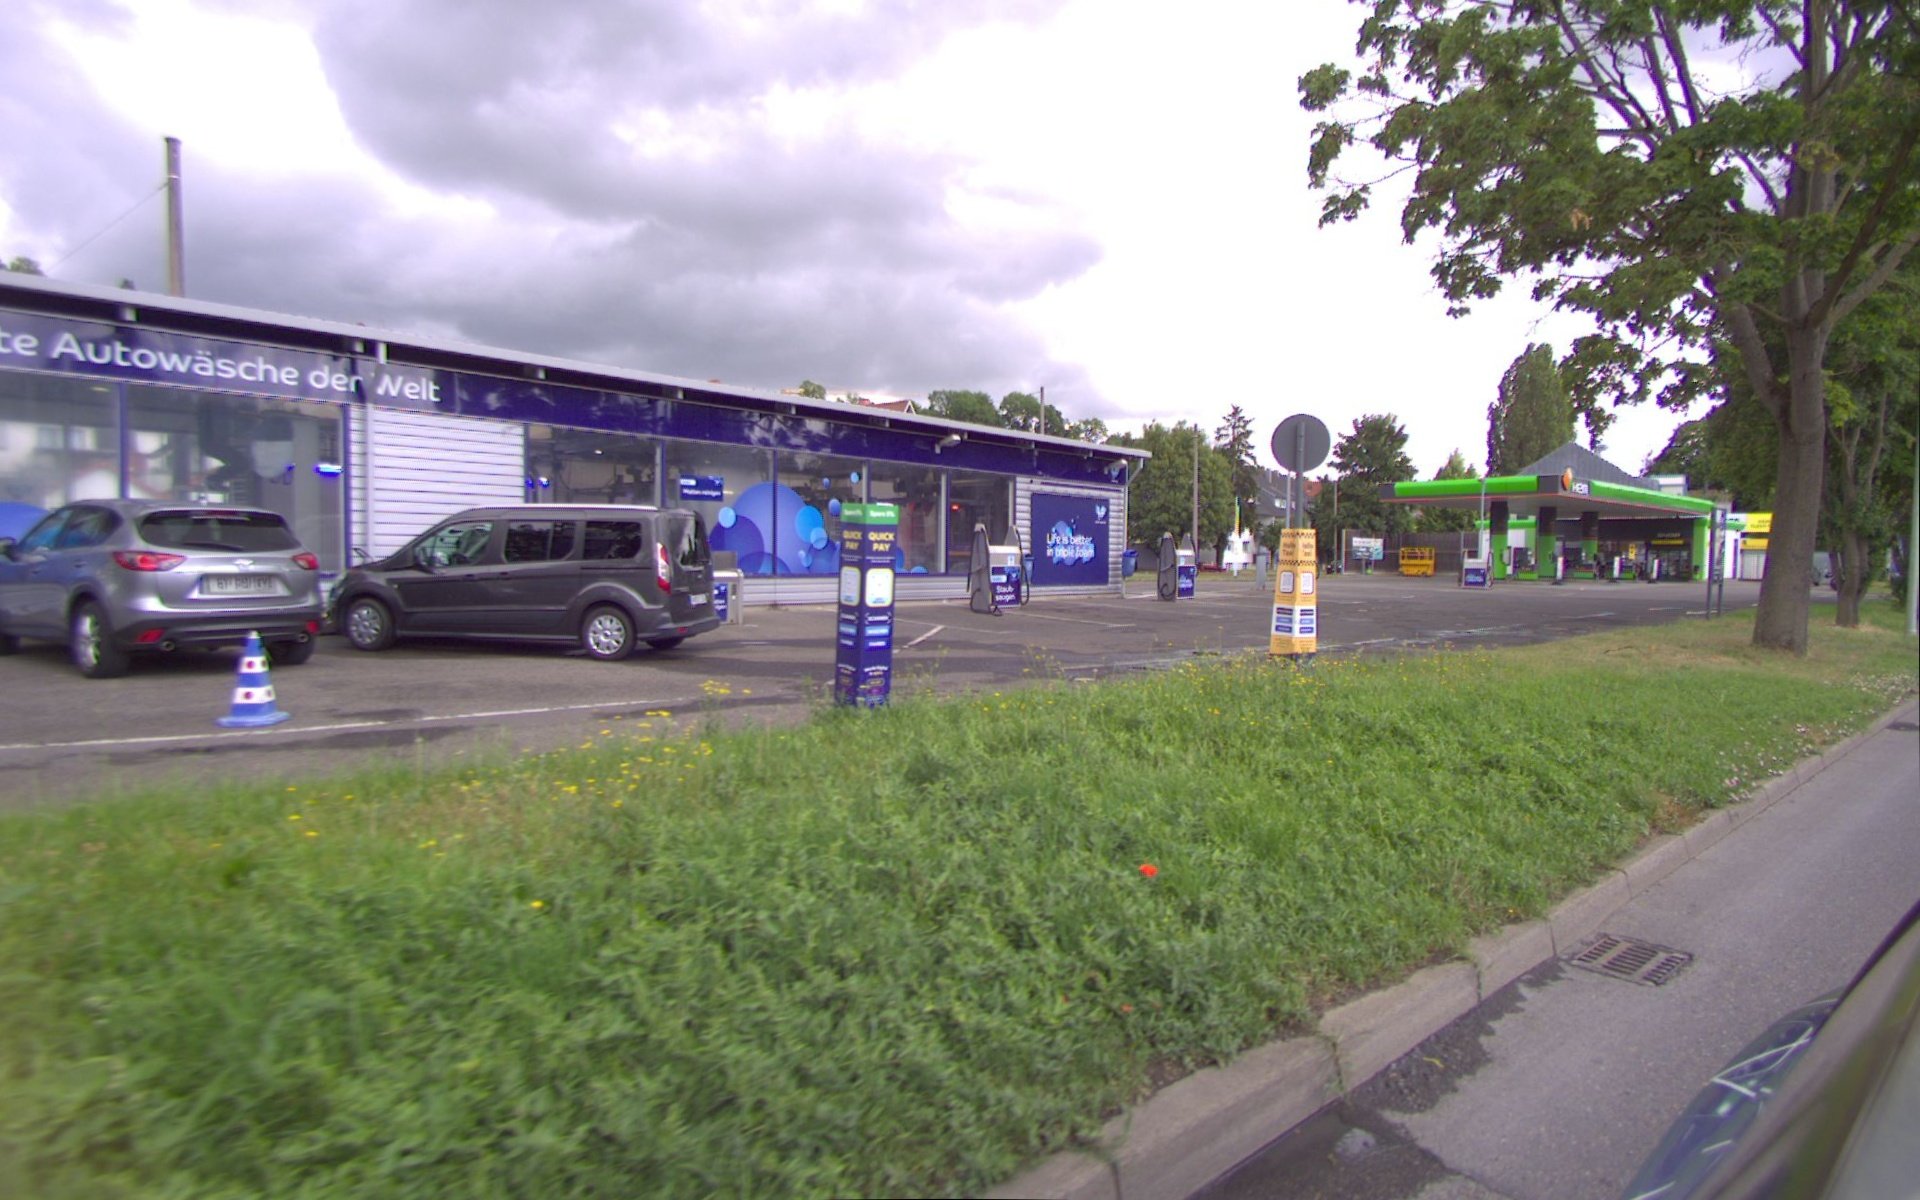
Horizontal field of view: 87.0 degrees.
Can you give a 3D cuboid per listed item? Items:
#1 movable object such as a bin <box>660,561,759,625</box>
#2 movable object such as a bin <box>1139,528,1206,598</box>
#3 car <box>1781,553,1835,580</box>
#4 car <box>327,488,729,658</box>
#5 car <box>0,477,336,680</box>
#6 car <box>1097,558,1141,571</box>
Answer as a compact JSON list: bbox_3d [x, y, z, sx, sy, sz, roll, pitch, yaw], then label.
[{"bbox_3d":[-4.165,-0.140,16.826,1.169,0.988,1.159,-1,3,-44],"label":"movable object such as a bin"},{"bbox_3d":[5.820,-1.020,27.672,1.432,1.841,1.159,-1,3,-44],"label":"movable object such as a bin"},{"bbox_3d":[56.687,-2.230,67.628,4.250,1.658,1.999,-1,6,-40],"label":"car"},{"bbox_3d":[-5.237,-0.371,12.532,4.309,1.843,1.749,2,2,7],"label":"car"},{"bbox_3d":[-8.481,-0.294,10.461,4.182,1.718,1.819,3,2,32],"label":"car"},{"bbox_3d":[15.492,-3.477,98.722,1.813,1.234,3.990,-1,4,-45],"label":"car"}]
